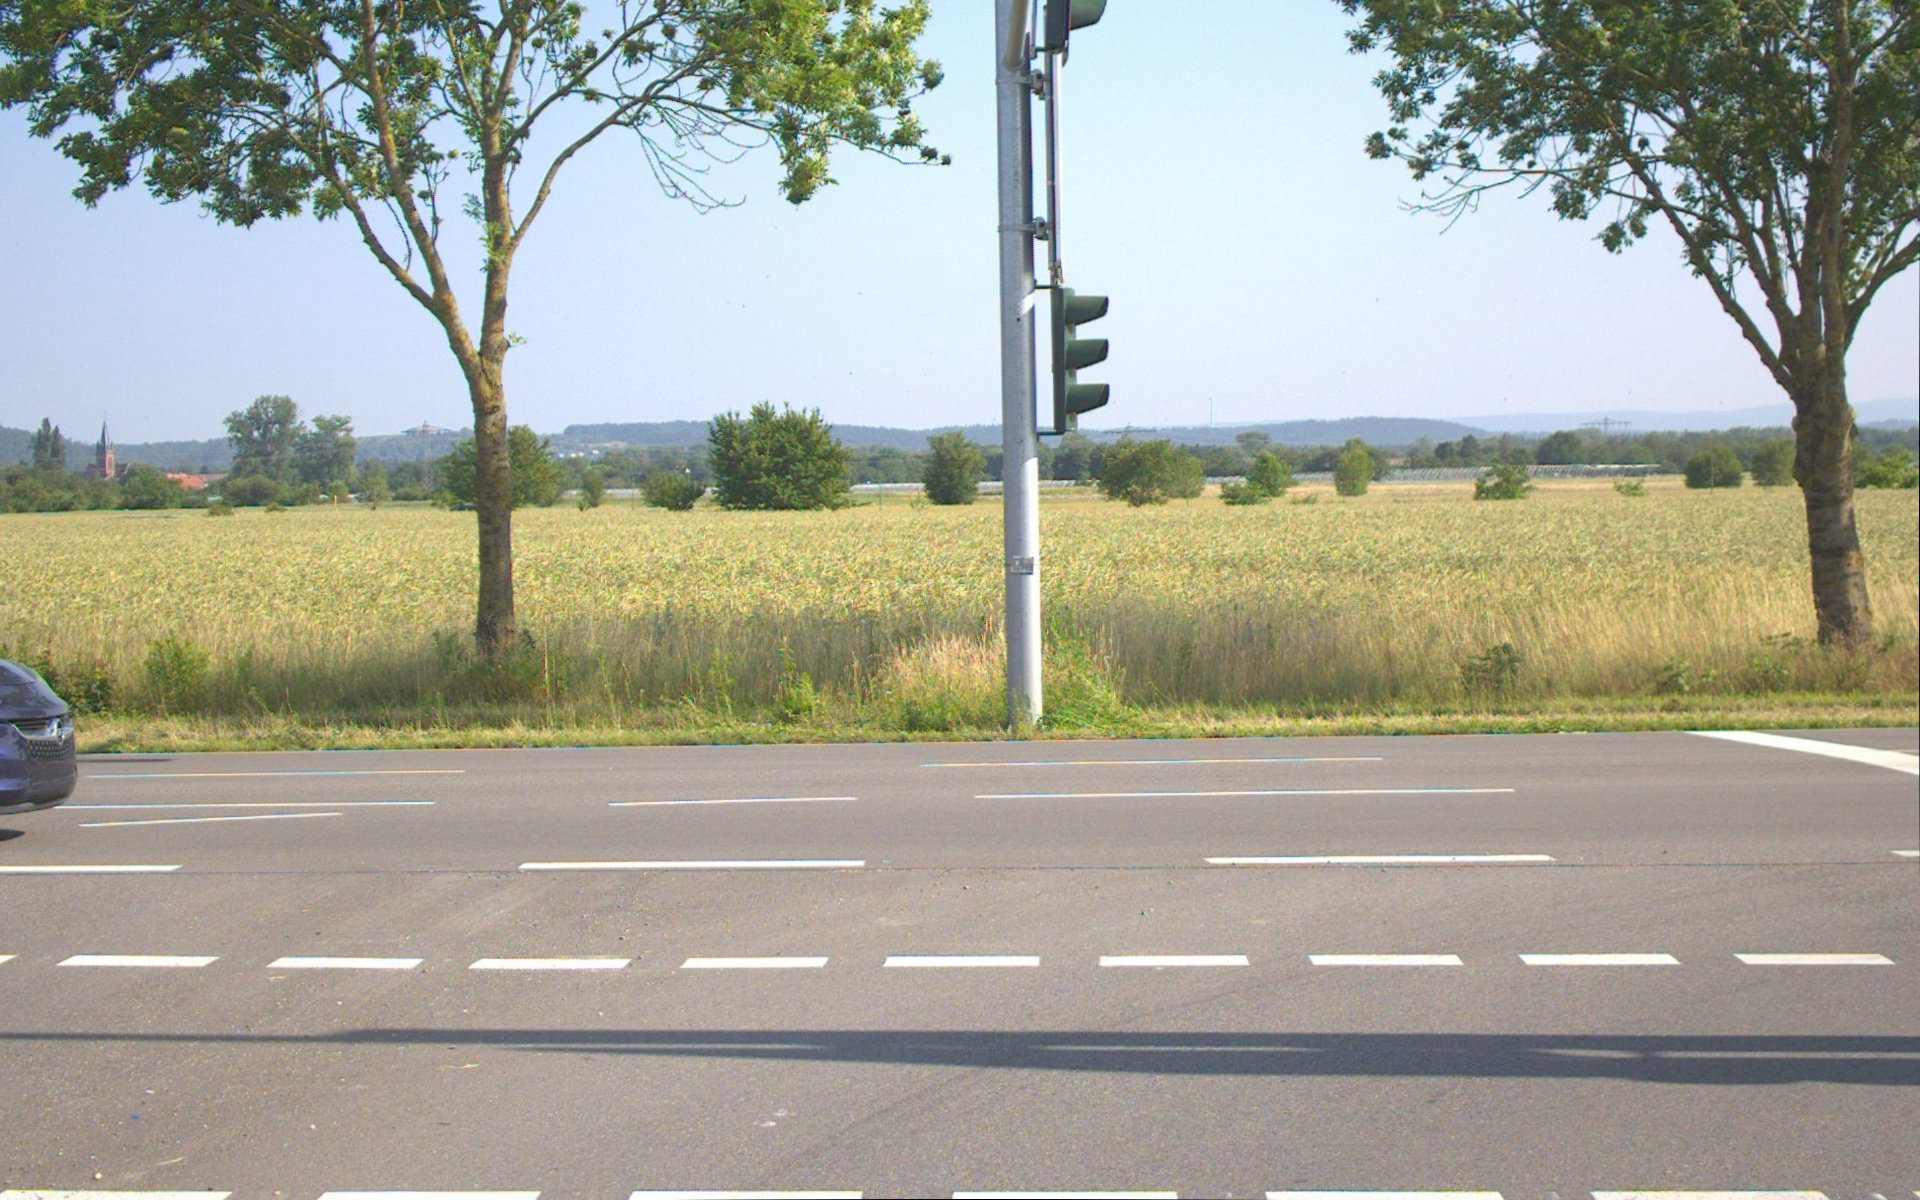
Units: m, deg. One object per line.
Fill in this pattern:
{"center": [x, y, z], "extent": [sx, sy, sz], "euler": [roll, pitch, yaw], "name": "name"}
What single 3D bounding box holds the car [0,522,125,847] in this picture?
{"center": [-6.125, 0.416, 16.558], "extent": [3.727, 1.452, 1.729], "euler": [-2, 2, 1], "name": "car"}
